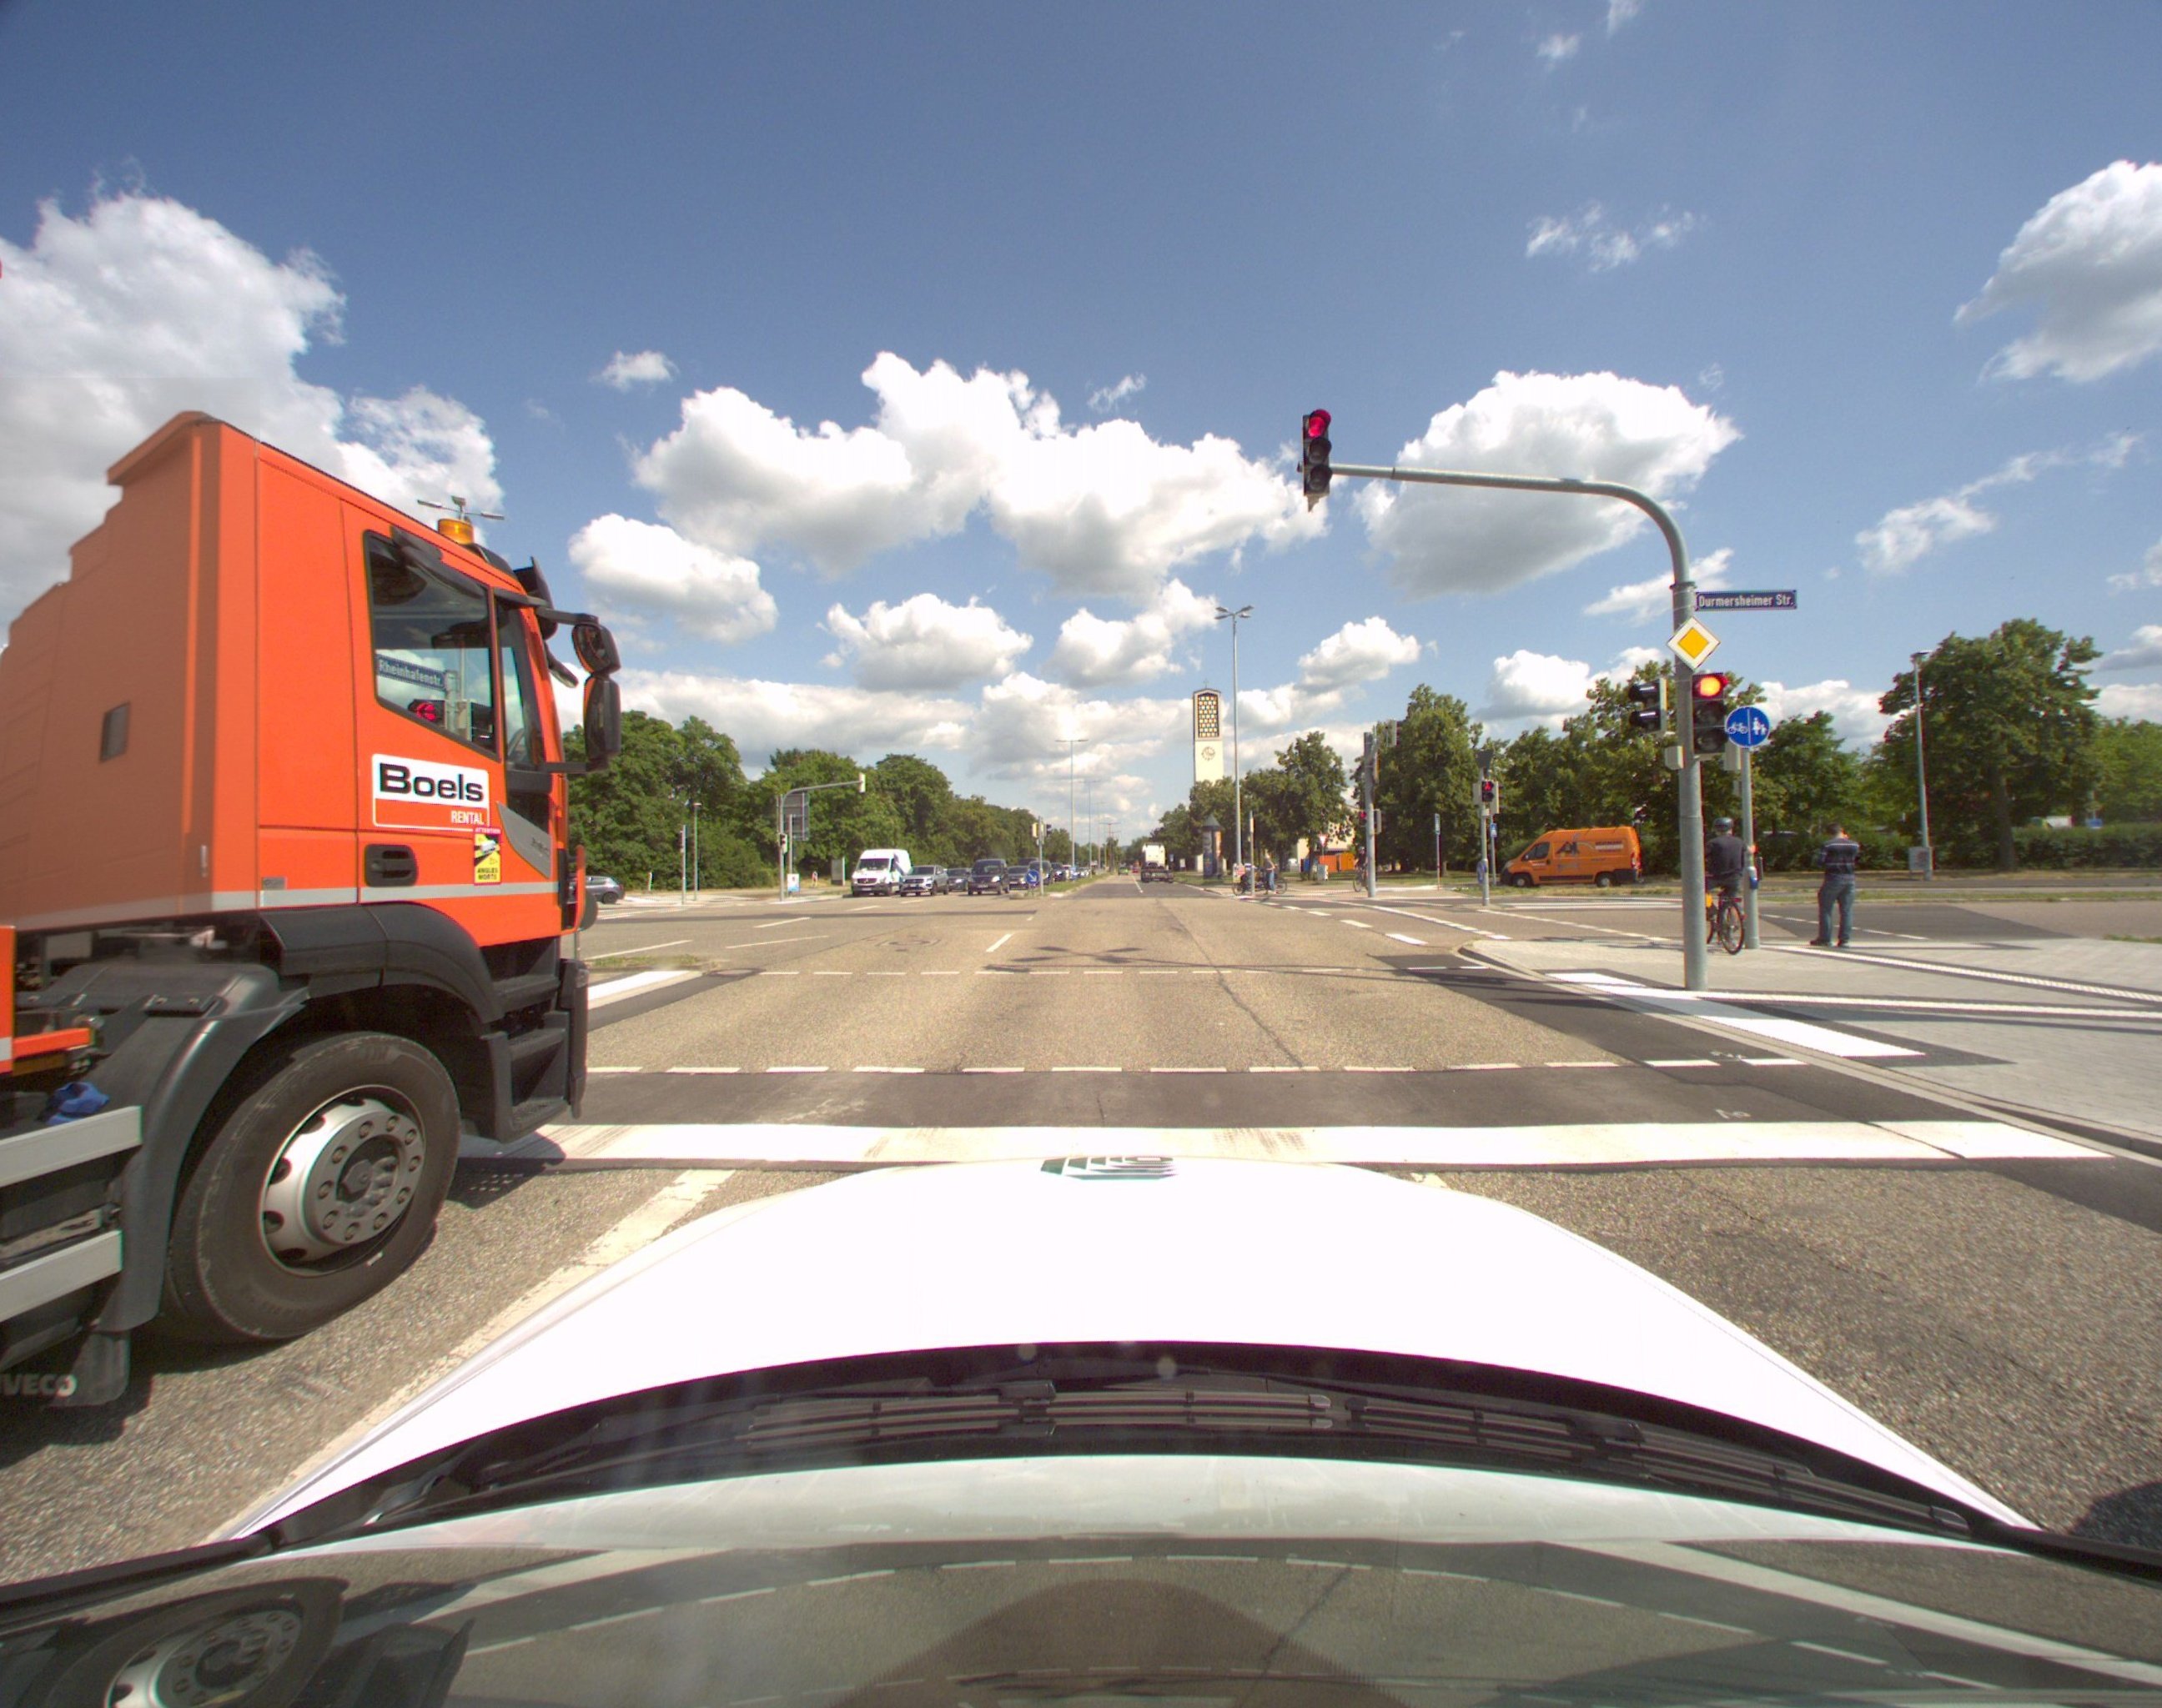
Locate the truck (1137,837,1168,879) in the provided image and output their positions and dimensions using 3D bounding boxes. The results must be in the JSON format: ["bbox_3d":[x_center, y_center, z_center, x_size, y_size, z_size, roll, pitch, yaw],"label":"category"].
[{"bbox_3d":[7.213,0.502,81.166,2.944,3.971,8.651,-1,-2,6],"label":"truck"}]

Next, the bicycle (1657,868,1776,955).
[{"bbox_3d":[8.922,0.763,11.530,0.643,1.108,1.936,1,-1,16],"label":"bicycle"}]

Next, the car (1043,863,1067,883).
[{"bbox_3d":[-2.245,1.628,70.965,1.728,1.660,4.232,1,-1,2],"label":"car"}]

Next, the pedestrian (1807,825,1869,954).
[{"bbox_3d":[10.729,0.490,11.554,0.461,1.779,0.483,1,-1,11],"label":"pedestrian"}]

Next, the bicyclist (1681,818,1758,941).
[{"bbox_3d":[8.876,0.348,11.350,0.643,1.661,0.653,1,-1,16],"label":"bicyclist"}]

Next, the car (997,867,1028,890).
[{"bbox_3d":[-4.116,1.467,49.411,1.563,1.316,3.431,1,-1,0],"label":"car"}]

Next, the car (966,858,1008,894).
[{"bbox_3d":[-4.573,1.066,40.157,1.730,1.660,4.226,1,-1,-3],"label":"car"}]

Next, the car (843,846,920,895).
[{"bbox_3d":[-10.896,0.891,44.991,2.163,2.471,5.977,1,-1,6],"label":"car"}]

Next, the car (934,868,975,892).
[{"bbox_3d":[-7.432,1.535,48.204,1.757,1.352,3.520,-1,-1,2],"label":"car"}]

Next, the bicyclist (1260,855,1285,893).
[{"bbox_3d":[8.201,0.846,34.848,0.701,1.616,0.791,0,-1,-22],"label":"bicyclist"}]

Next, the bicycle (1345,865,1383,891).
[{"bbox_3d":[12.195,1.018,35.080,2.015,1.093,0.677,0,-1,-44],"label":"bicycle"}]

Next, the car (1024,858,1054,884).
[{"bbox_3d":[-2.898,1.176,57.083,1.728,1.660,4.233,1,0,2],"label":"car"}]

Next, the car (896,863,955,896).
[{"bbox_3d":[-7.854,1.278,41.429,1.726,1.543,4.316,1,-1,6],"label":"car"}]

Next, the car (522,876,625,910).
[{"bbox_3d":[-24.464,1.841,39.332,4.018,1.530,1.977,2,-1,-38],"label":"car"}]

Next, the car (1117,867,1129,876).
[{"bbox_3d":[7.418,3.038,145.261,1.986,1.552,4.001,1,-1,2],"label":"car"}]

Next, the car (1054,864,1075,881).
[{"bbox_3d":[-1.644,1.836,82.539,1.727,1.660,4.233,1,-1,3],"label":"car"}]

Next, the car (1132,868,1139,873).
[{"bbox_3d":[16.076,4.792,239.614,1.986,1.552,4.001,1,-1,2],"label":"car"}]

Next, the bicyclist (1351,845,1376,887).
[{"bbox_3d":[12.164,0.516,35.051,0.793,1.804,0.677,0,-1,-44],"label":"bicyclist"}]

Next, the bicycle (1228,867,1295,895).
[{"bbox_3d":[7.687,1.141,34.638,2.844,1.112,0.791,-1,-1,-22],"label":"bicycle"}]

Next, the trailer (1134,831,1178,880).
[{"bbox_3d":[6.808,0.285,73.047,3.602,4.012,11.336,-1,-1,6],"label":"trailer"}]

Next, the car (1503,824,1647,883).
[{"bbox_3d":[20.048,0.004,33.120,4.797,2.226,2.225,0,-1,38],"label":"car"}]
